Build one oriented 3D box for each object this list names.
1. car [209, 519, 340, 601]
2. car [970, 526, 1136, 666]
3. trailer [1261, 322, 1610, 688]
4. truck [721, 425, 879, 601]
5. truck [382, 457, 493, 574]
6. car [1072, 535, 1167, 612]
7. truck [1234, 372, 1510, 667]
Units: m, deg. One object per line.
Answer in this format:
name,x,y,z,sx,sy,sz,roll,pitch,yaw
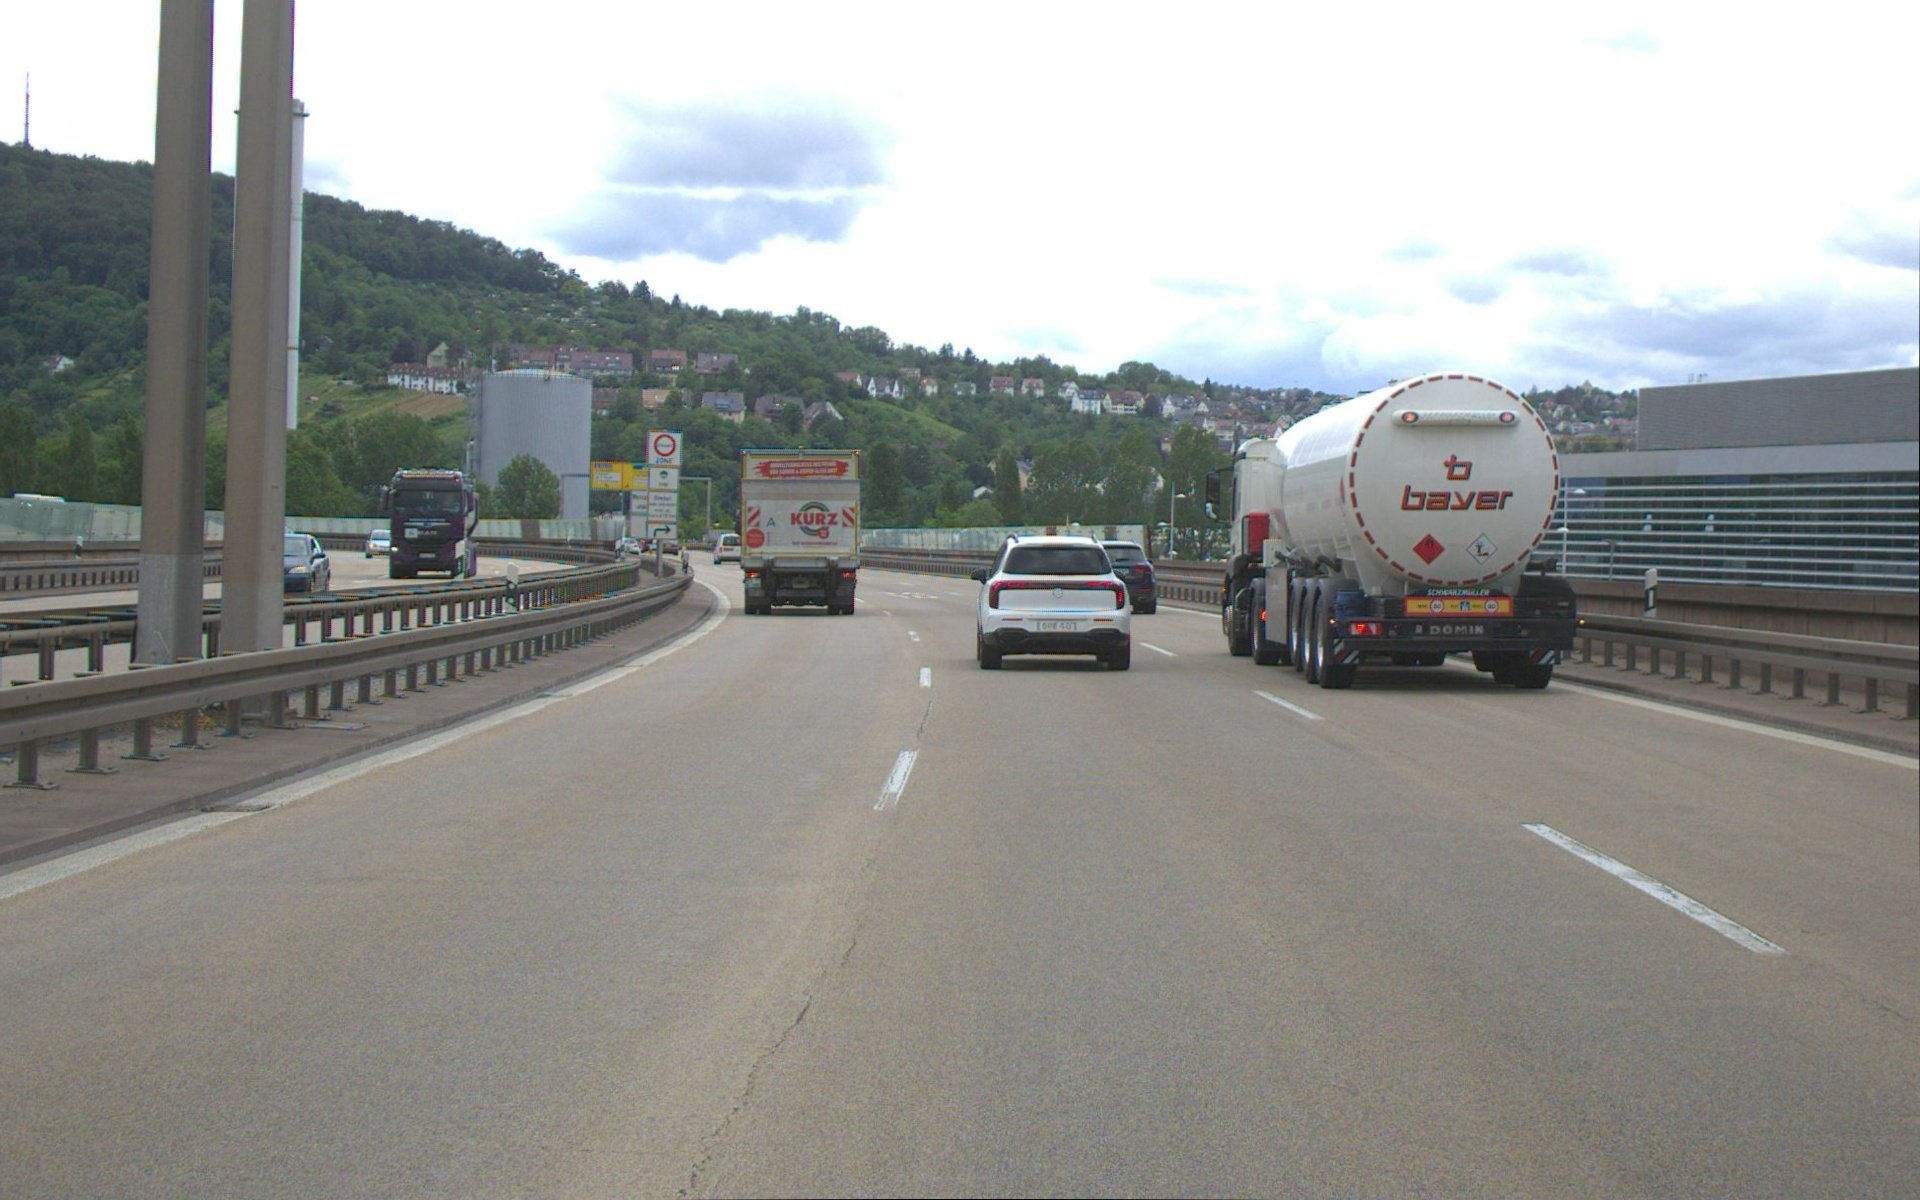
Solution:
car,-14.486,-0.847,72.867,1.993,1.669,4.408,0,0,-1
car,1.168,-0.063,43.855,1.993,1.669,4.408,1,0,1
trailer,5.292,-1.023,39.816,3.057,3.777,8.303,0,0,1
truck,-3.468,-1.867,76.582,3.057,3.678,8.304,0,0,0
truck,-17.828,-2.813,117.913,2.810,3.796,12.021,0,0,-4
car,3.570,-0.593,77.577,1.993,1.669,4.408,1,0,1
truck,5.372,-1.024,45.921,3.014,3.644,6.273,1,0,1
